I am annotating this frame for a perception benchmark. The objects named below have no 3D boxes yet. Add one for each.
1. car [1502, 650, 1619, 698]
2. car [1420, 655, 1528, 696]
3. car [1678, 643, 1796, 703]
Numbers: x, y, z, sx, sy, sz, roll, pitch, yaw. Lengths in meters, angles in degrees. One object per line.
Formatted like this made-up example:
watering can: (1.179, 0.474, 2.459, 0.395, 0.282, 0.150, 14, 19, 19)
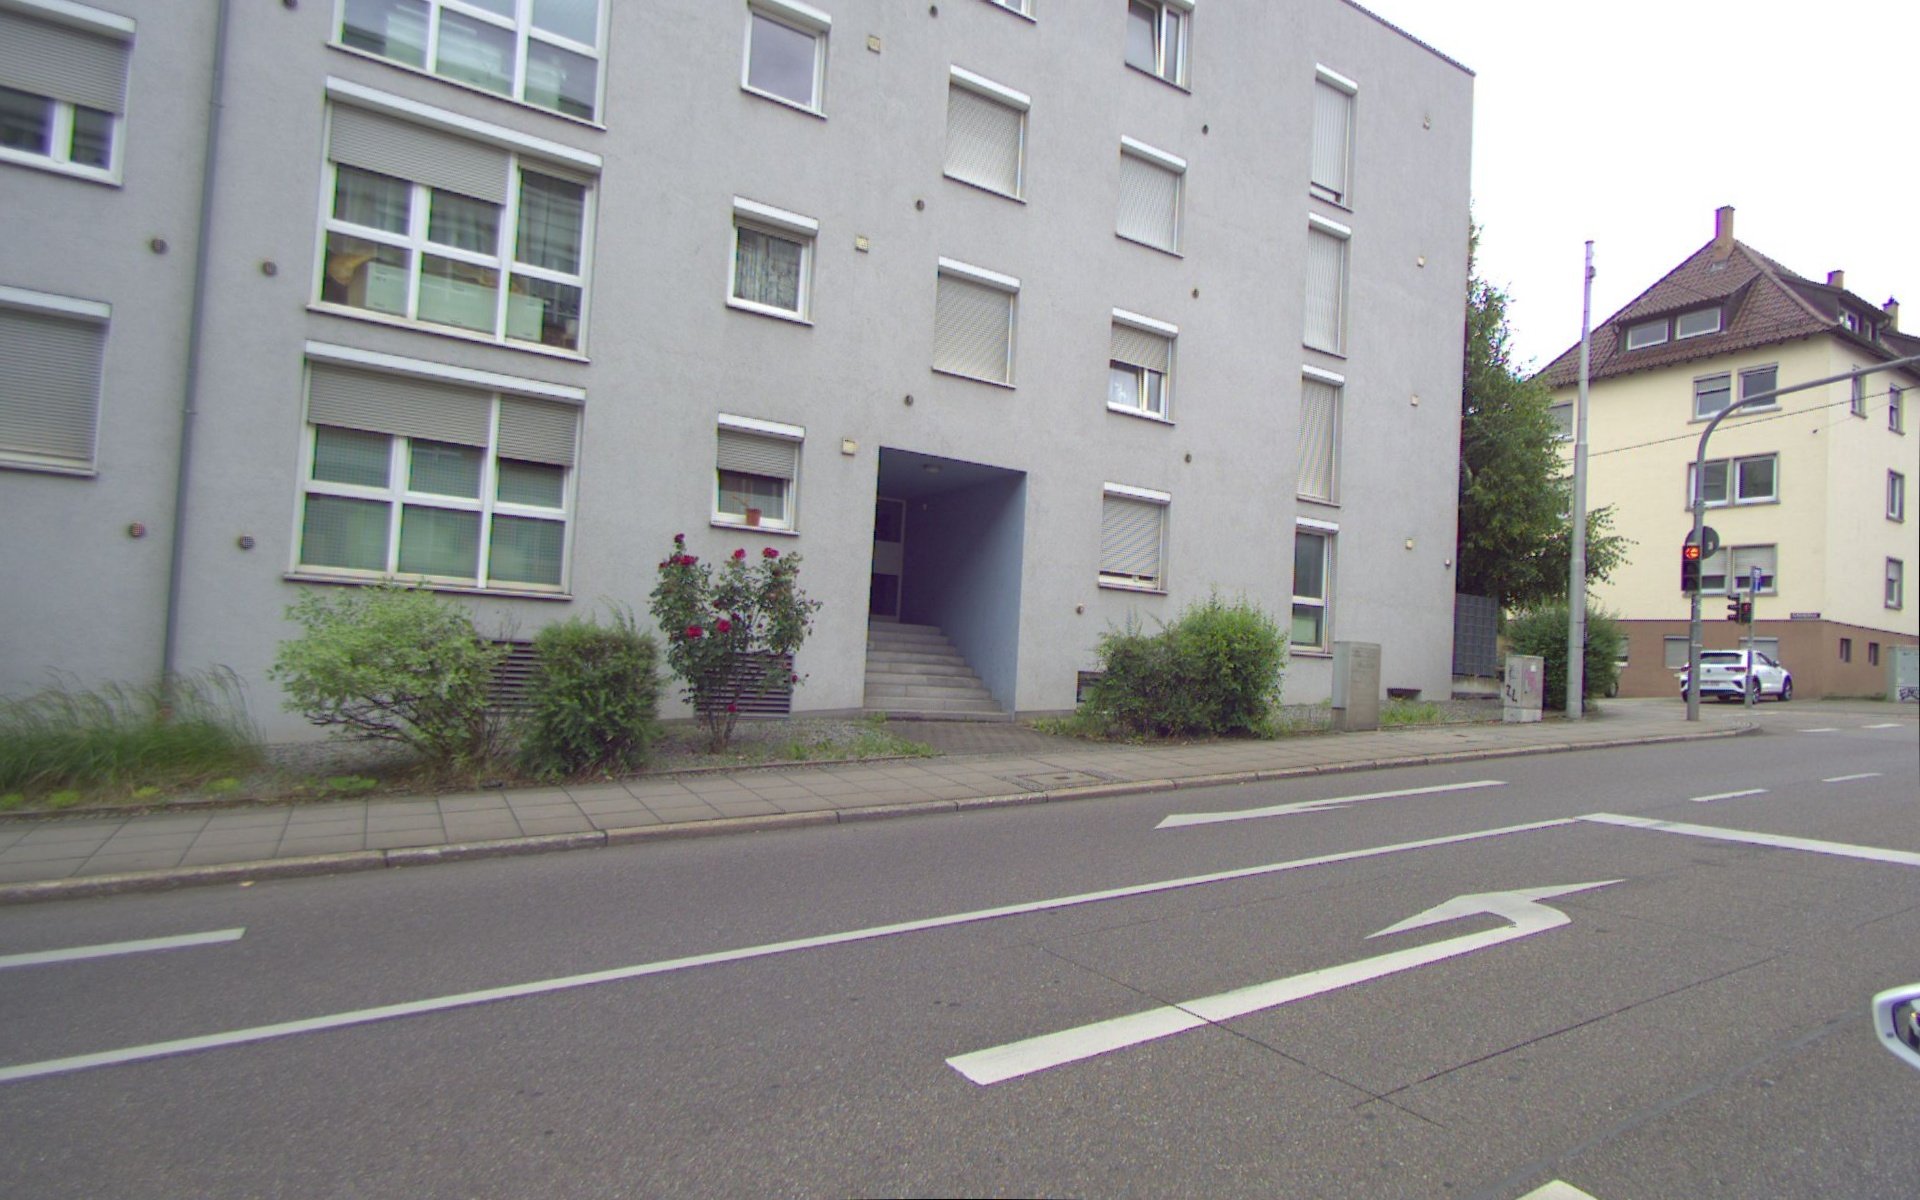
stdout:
car: (20.603, 2.511, 34.448, 4.053, 1.566, 1.662, 2, -4, -30)
car: (18.912, 2.731, 36.919, 3.953, 1.380, 1.662, 2, -1, -30)
car: (23.270, 2.155, 30.052, 3.960, 1.683, 1.660, 2, -4, -35)
